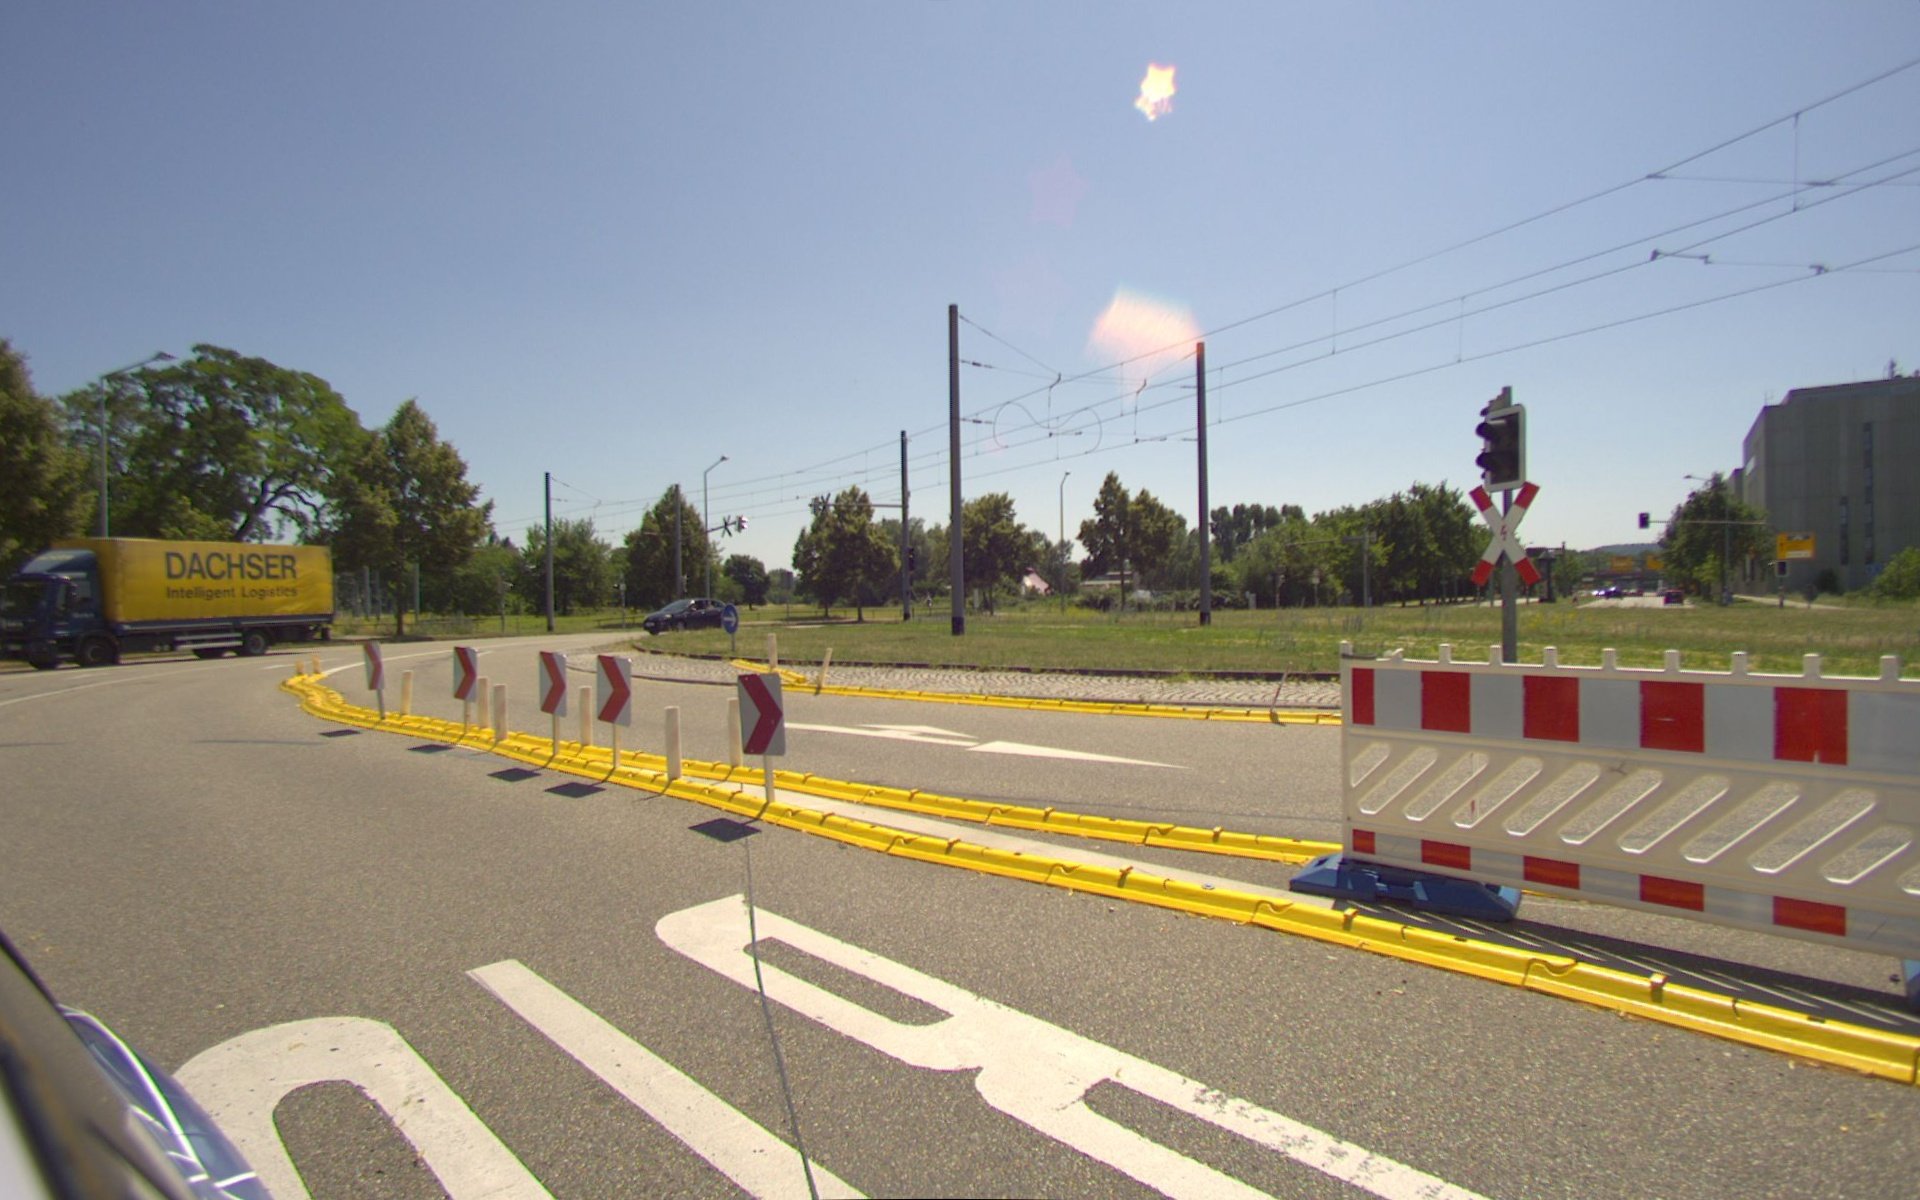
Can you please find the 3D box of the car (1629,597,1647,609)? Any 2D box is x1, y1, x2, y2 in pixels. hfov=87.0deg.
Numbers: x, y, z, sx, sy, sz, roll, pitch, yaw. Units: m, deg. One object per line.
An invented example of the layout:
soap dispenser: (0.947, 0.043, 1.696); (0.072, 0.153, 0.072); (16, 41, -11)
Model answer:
car: (83.948, 0.420, 125.332); (1.756, 1.419, 3.359); (-1, 0, 36)

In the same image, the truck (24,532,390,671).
truck: (-23.040, 0.067, 31.975); (2.684, 3.686, 9.561); (-1, 0, 17)

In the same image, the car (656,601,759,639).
car: (-10.480, 0.814, 42.197); (1.972, 1.429, 3.959); (-1, 0, 30)

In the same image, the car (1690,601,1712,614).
car: (70.728, 0.722, 96.596); (1.493, 1.098, 3.480); (-1, 0, 33)
